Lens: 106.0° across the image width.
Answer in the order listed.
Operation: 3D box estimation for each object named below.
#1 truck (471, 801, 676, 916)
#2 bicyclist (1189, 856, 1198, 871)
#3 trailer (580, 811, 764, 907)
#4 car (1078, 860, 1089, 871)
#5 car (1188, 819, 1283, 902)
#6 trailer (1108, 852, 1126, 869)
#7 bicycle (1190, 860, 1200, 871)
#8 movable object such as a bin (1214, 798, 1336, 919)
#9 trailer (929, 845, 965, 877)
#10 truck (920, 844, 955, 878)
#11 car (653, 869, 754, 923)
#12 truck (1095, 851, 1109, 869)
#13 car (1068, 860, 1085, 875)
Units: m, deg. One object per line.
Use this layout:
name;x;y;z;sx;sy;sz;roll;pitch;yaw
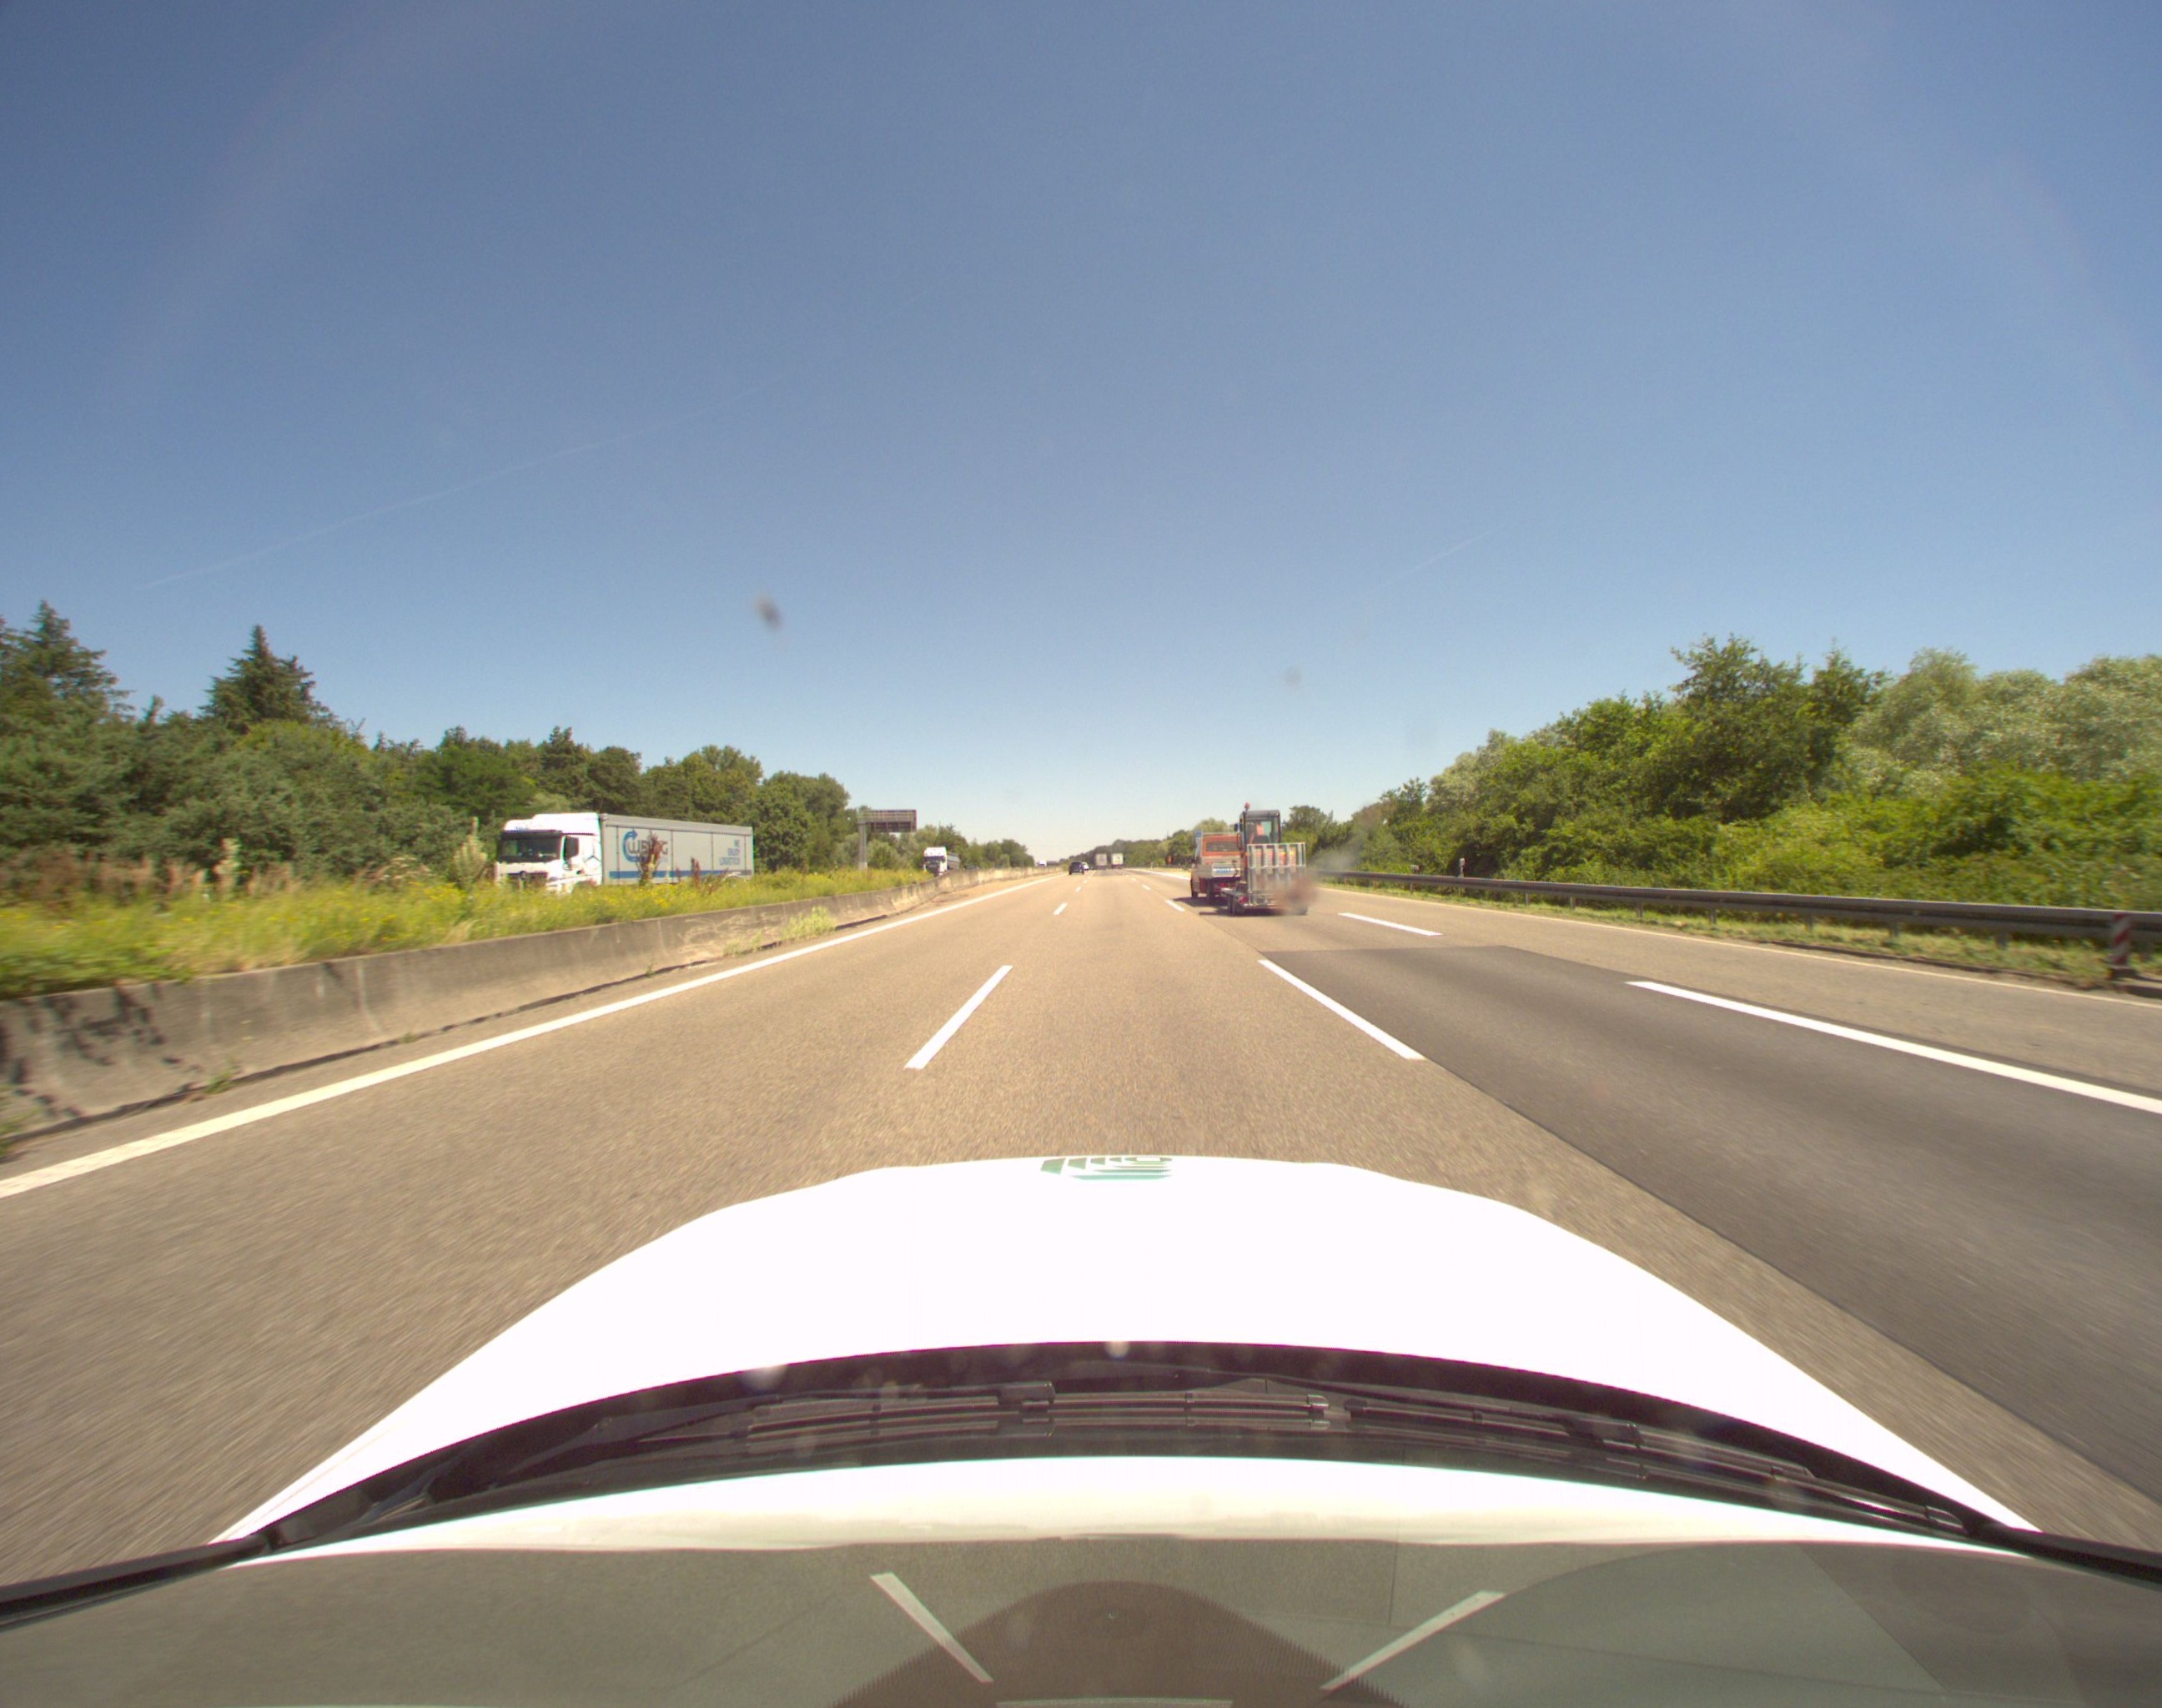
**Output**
truck;-20.259;0.176;33.326;2.973;4.076;8.196;-1;0;2
bicyclist;12.120;1.018;87.599;0.954;1.595;0.809;1;-1;9
trailer;-19.950;0.250;41.077;2.973;4.076;11.778;-1;0;2
car;0.459;2.182;155.028;1.986;1.874;4.001;-1;-1;1
car;5.048;0.232;27.741;1.986;2.405;7.228;-2;-1;2
trailer;9.231;1.625;209.710;3.361;4.143;9.078;1;-1;-4
bicycle;12.236;1.245;87.612;0.954;1.157;2.614;1;-1;10
movable object such as a bin;4.999;0.140;21.696;2.166;2.815;4.762;-2;-1;1
trailer;-17.892;0.979;109.418;2.798;4.047;10.430;1;-1;0
truck;-17.987;0.908;102.411;2.797;4.047;7.730;1;-1;1
car;-15.775;1.693;34.336;1.986;2.014;4.589;-1;0;2
truck;5.163;1.508;199.459;3.218;4.202;8.465;1;-1;0
car;-0.589;1.750;107.106;1.986;1.874;4.001;-2;-1;1
